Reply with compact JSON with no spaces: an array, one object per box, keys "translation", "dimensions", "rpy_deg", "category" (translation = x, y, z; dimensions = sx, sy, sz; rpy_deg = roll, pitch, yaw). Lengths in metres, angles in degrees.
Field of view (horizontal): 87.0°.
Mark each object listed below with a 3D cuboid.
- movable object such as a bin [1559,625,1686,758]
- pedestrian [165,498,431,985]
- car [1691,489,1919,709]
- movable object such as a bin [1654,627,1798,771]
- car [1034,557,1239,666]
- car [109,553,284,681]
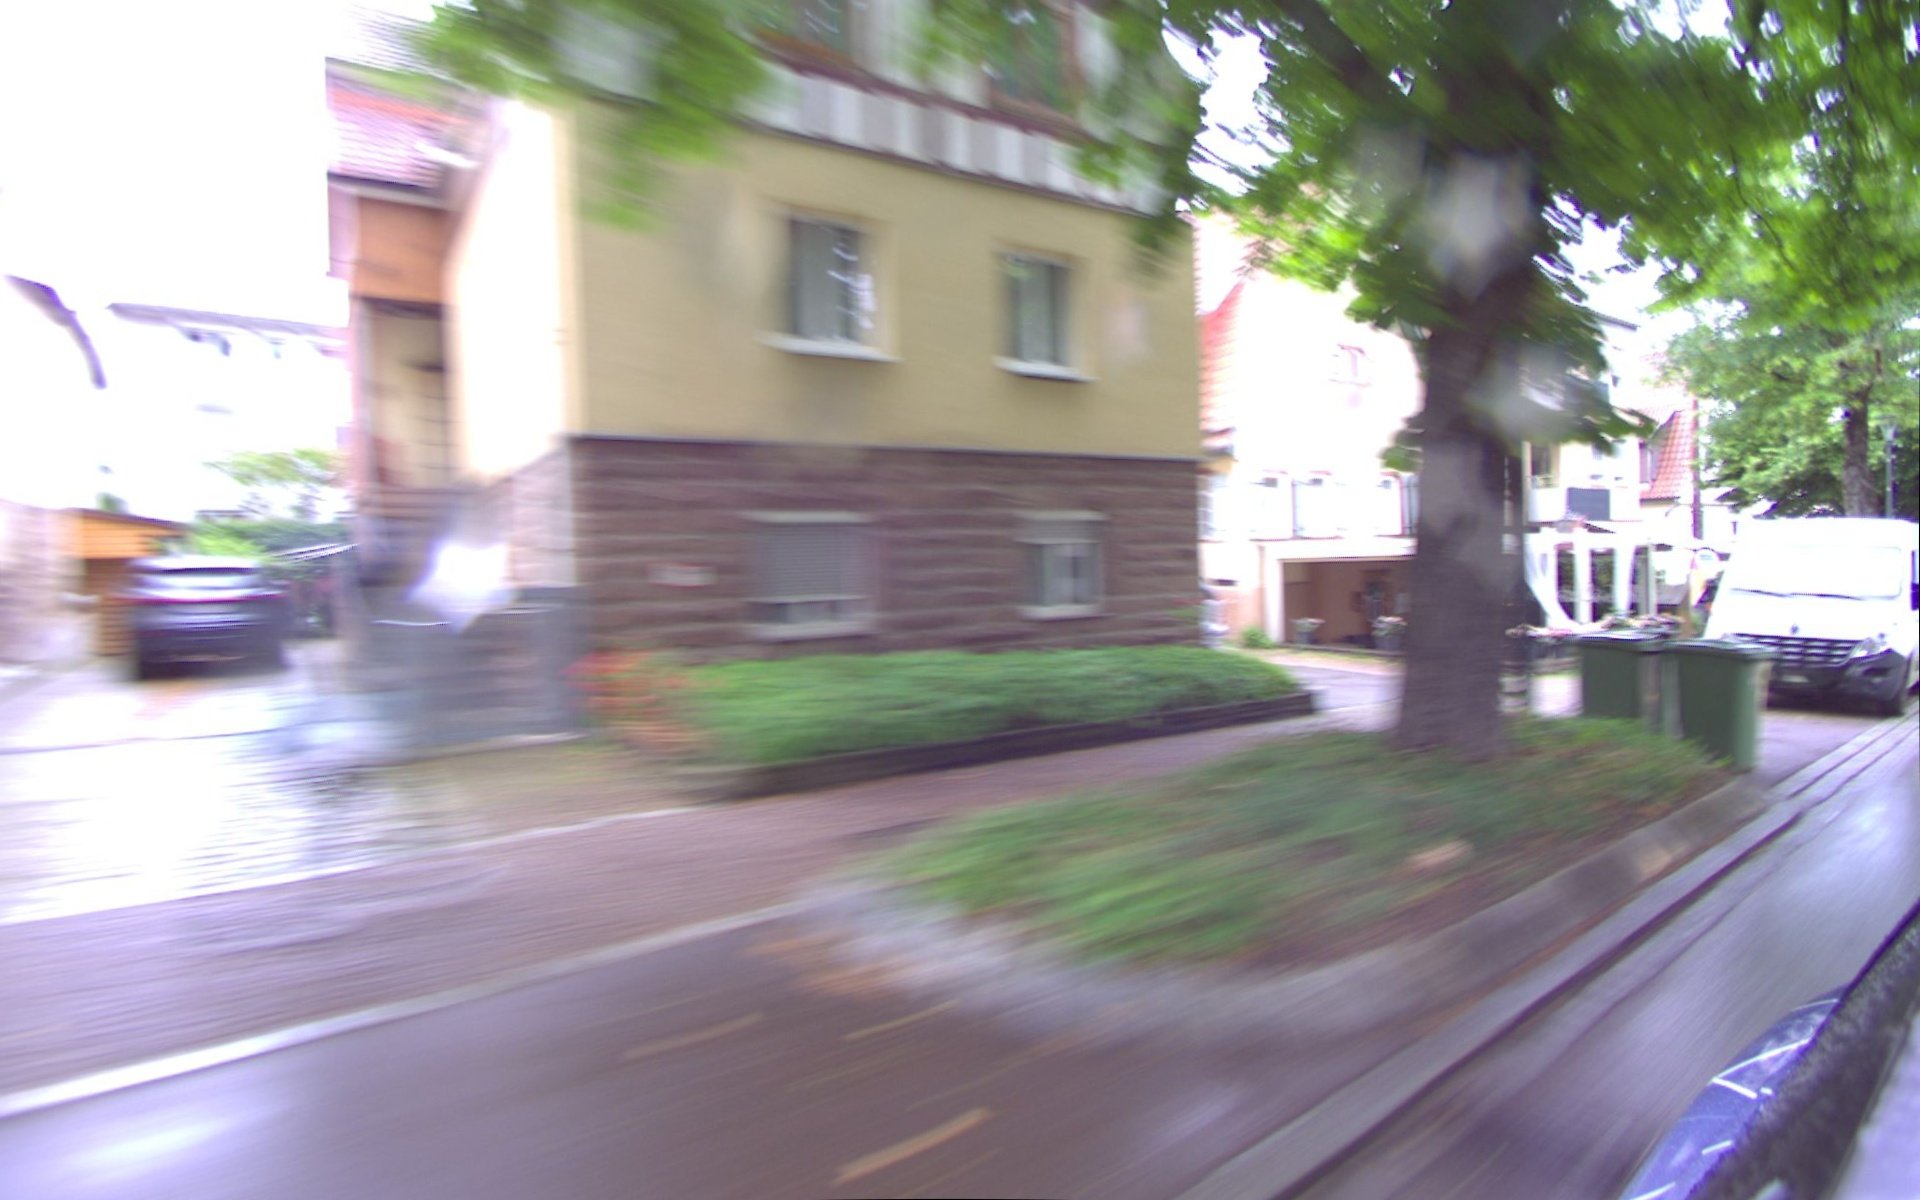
[{"translation":[5.983,0.791,9.143],"dimensions":[0.863,1.088,0.749],"rpy_deg":[-1,0,-41],"category":"movable object such as a bin"},{"translation":[-2.579,0.470,4.068],"dimensions":[0.778,1.672,0.959],"rpy_deg":[-1,1,-27],"category":"pedestrian"},{"translation":[12.184,-0.046,14.051],"dimensions":[5.341,2.491,2.144],"rpy_deg":[-1,0,-41],"category":"car"},{"translation":[6.455,0.792,8.529],"dimensions":[0.863,1.088,0.798],"rpy_deg":[-1,0,-41],"category":"movable object such as a bin"},{"translation":[2.917,0.099,17.249],"dimensions":[1.629,1.615,3.298],"rpy_deg":[-1,3,-33],"category":"car"},{"translation":[-11.372,0.158,15.286],"dimensions":[1.837,1.629,3.820],"rpy_deg":[-3,3,-34],"category":"car"}]
